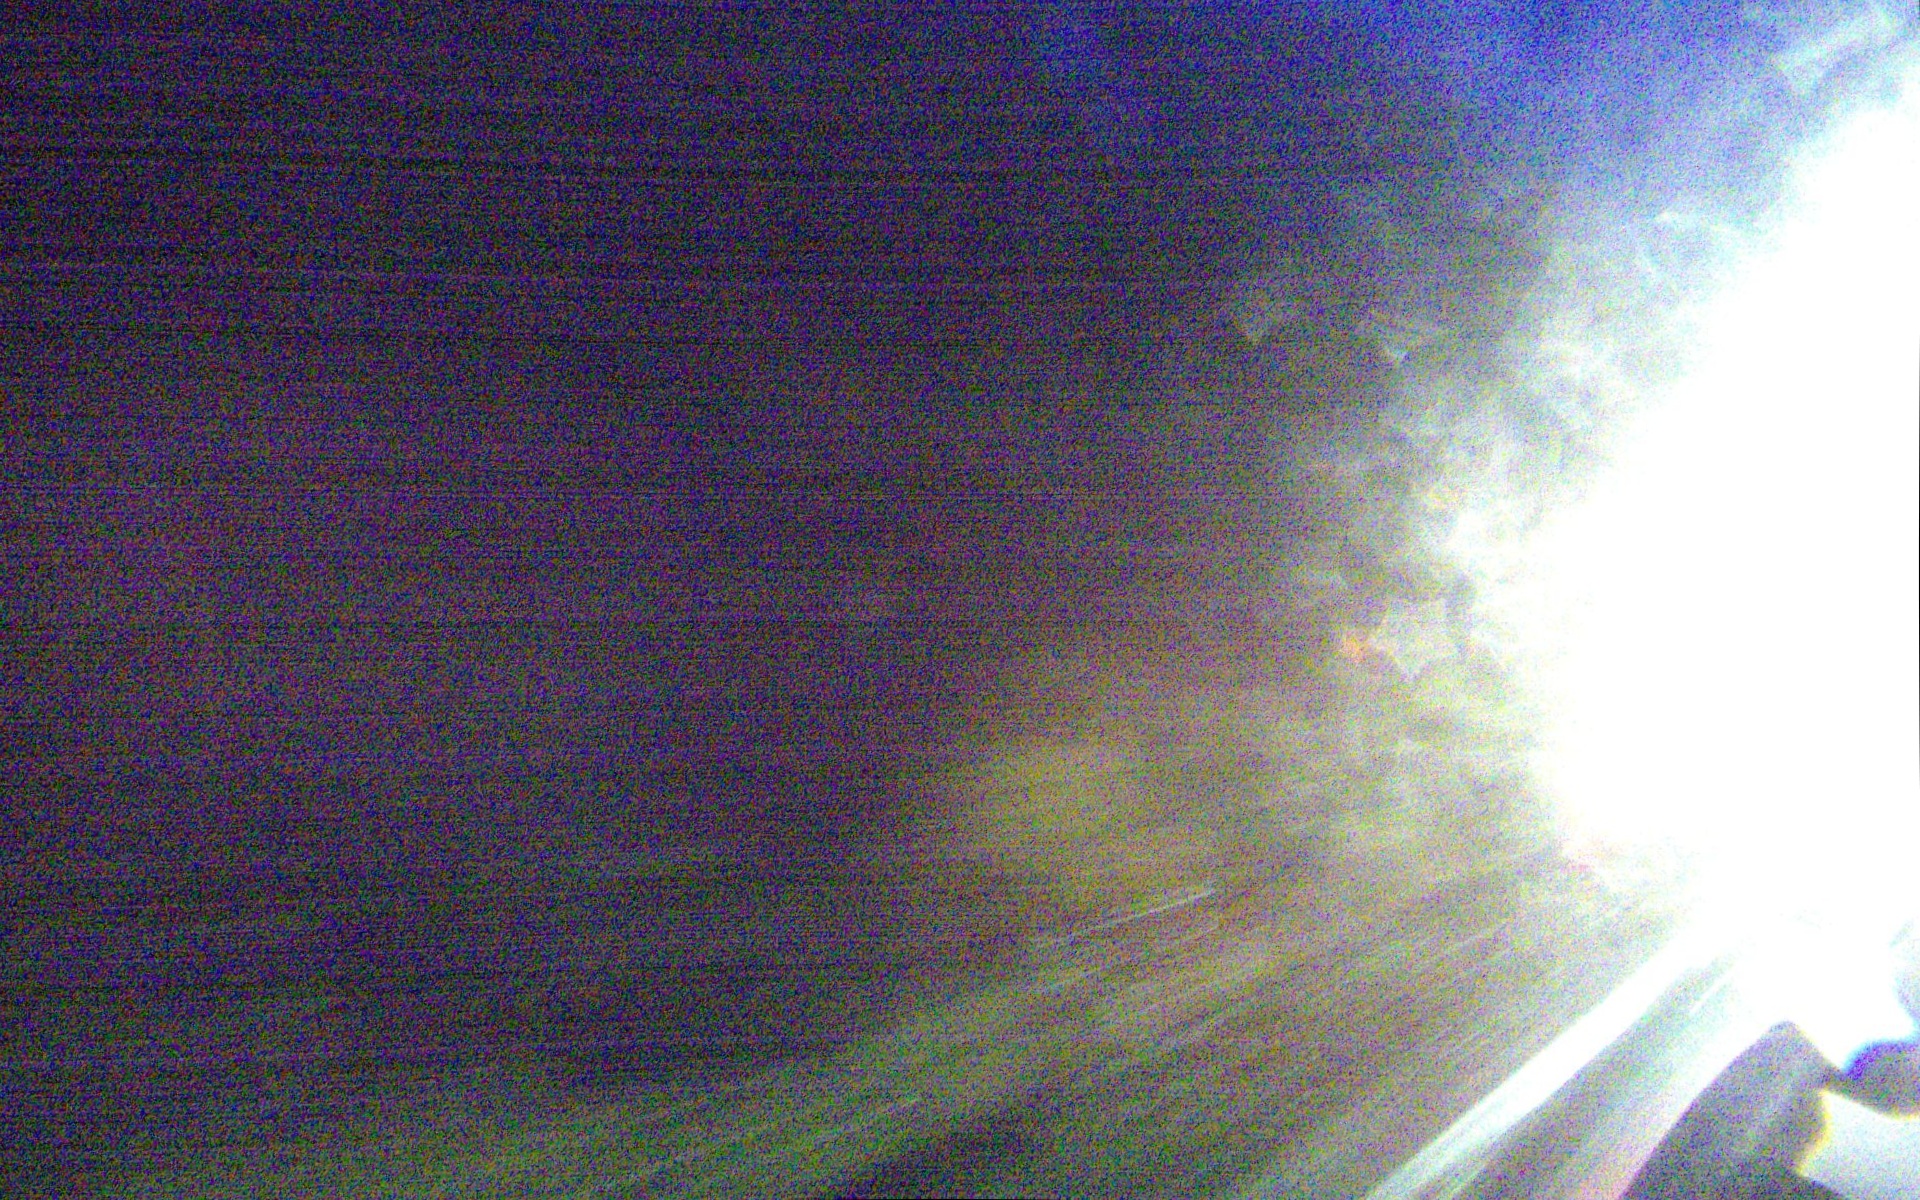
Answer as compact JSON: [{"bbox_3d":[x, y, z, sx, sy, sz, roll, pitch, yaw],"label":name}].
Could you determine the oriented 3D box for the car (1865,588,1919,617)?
[{"bbox_3d":[52.981,0.116,57.390,1.987,1.482,3.950,0,2,35],"label":"car"}]

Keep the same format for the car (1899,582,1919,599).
[{"bbox_3d":[90.333,-0.932,95.417,1.691,1.591,4.659,0,1,32],"label":"car"}]
